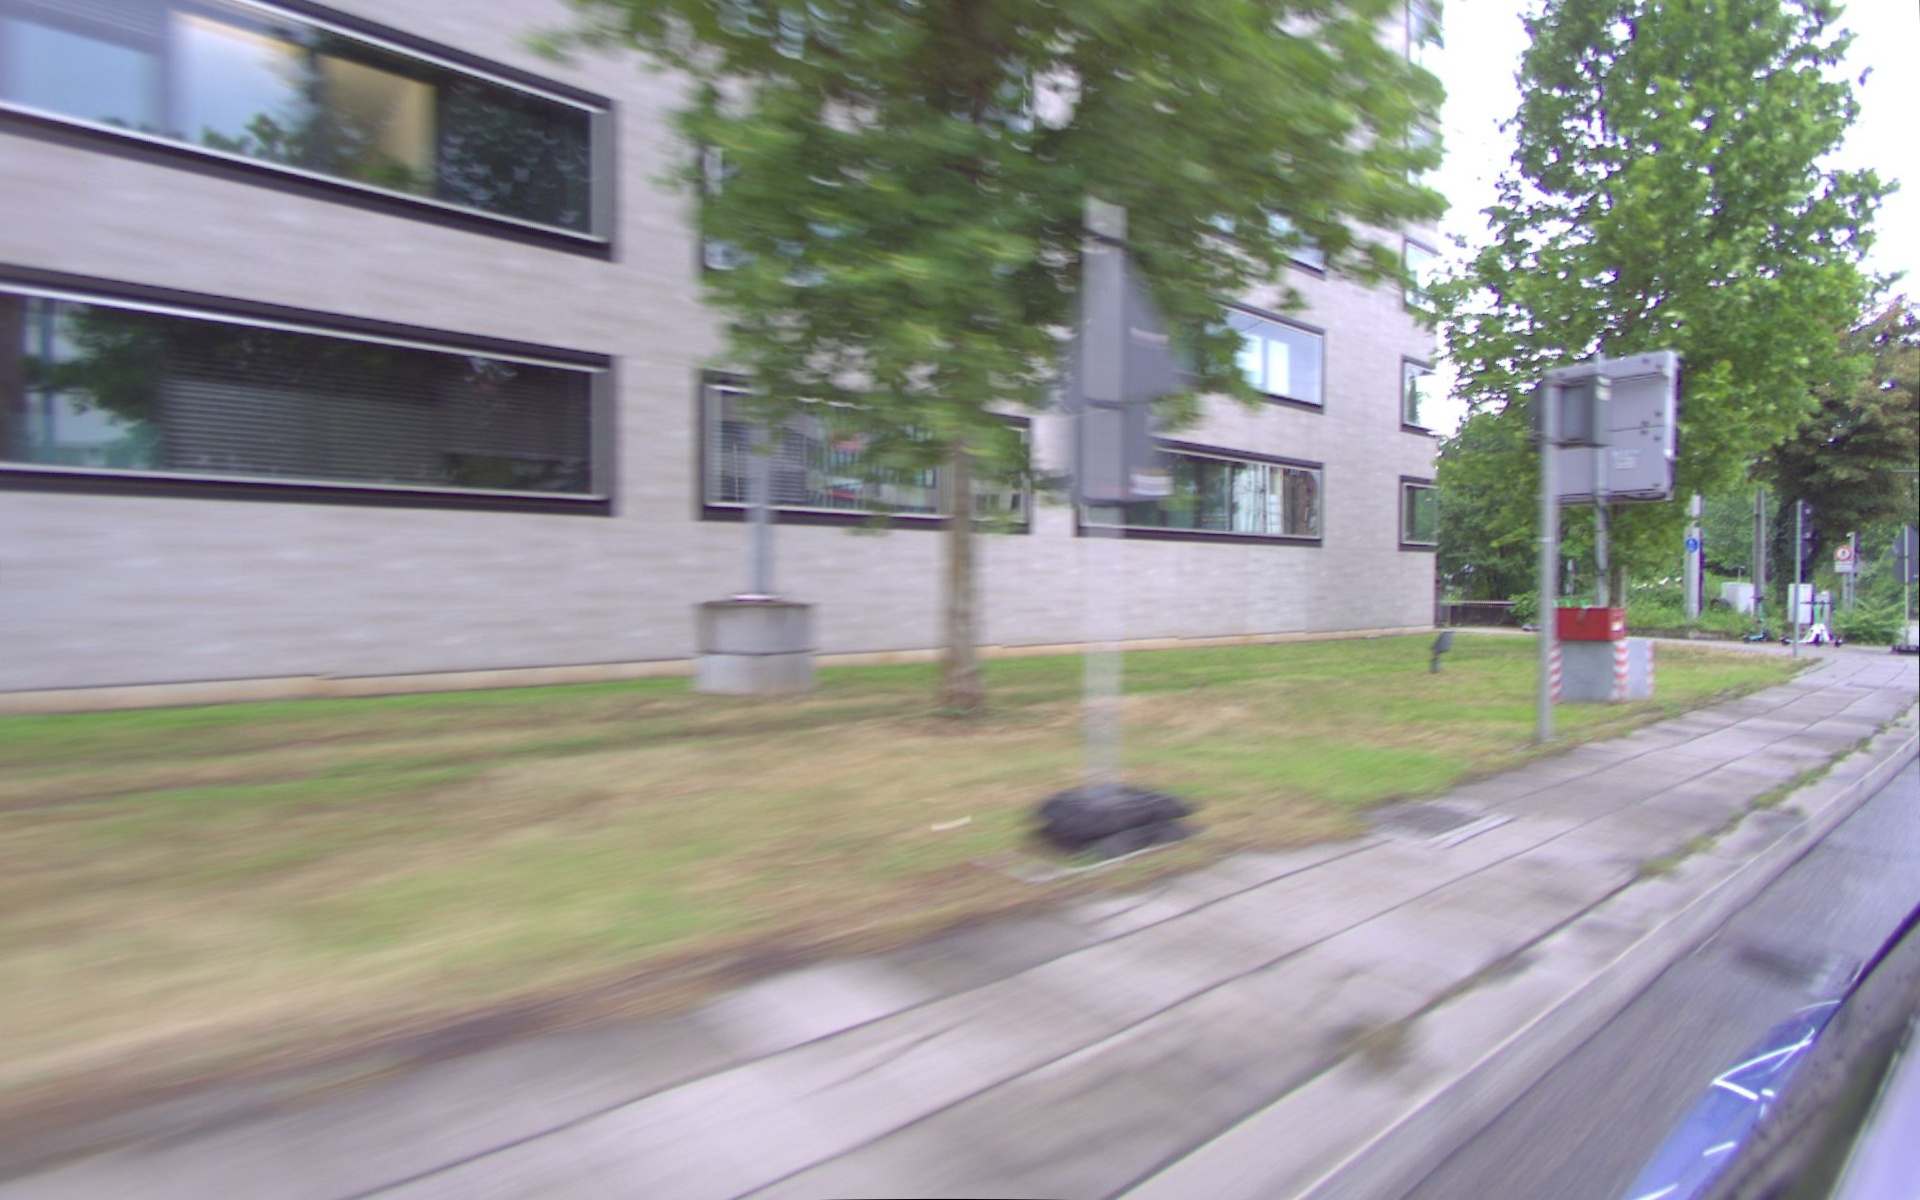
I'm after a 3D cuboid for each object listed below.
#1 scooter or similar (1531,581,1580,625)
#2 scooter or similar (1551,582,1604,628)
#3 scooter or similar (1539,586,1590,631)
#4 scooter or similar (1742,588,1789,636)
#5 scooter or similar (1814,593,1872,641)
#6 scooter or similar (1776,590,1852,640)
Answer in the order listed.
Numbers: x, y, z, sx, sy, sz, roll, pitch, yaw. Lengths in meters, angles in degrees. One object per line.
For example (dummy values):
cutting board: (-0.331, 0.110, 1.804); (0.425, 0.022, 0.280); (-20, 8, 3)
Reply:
scooter or similar: (18.814, 0.073, 31.977); (0.464, 1.328, 1.239); (0, 2, -43)
scooter or similar: (18.661, 0.128, 30.583); (0.545, 1.328, 1.239); (0, 2, -43)
scooter or similar: (18.698, 0.241, 31.328); (0.464, 1.328, 1.239); (0, 2, -43)
scooter or similar: (20.794, 0.298, 26.128); (1.300, 1.215, 0.564); (0, 2, -35)
scooter or similar: (22.924, 0.427, 26.304); (0.630, 1.142, 1.581); (2, 2, 23)
scooter or similar: (21.846, 0.384, 25.896); (1.312, 1.215, 0.690); (1, 2, -3)
